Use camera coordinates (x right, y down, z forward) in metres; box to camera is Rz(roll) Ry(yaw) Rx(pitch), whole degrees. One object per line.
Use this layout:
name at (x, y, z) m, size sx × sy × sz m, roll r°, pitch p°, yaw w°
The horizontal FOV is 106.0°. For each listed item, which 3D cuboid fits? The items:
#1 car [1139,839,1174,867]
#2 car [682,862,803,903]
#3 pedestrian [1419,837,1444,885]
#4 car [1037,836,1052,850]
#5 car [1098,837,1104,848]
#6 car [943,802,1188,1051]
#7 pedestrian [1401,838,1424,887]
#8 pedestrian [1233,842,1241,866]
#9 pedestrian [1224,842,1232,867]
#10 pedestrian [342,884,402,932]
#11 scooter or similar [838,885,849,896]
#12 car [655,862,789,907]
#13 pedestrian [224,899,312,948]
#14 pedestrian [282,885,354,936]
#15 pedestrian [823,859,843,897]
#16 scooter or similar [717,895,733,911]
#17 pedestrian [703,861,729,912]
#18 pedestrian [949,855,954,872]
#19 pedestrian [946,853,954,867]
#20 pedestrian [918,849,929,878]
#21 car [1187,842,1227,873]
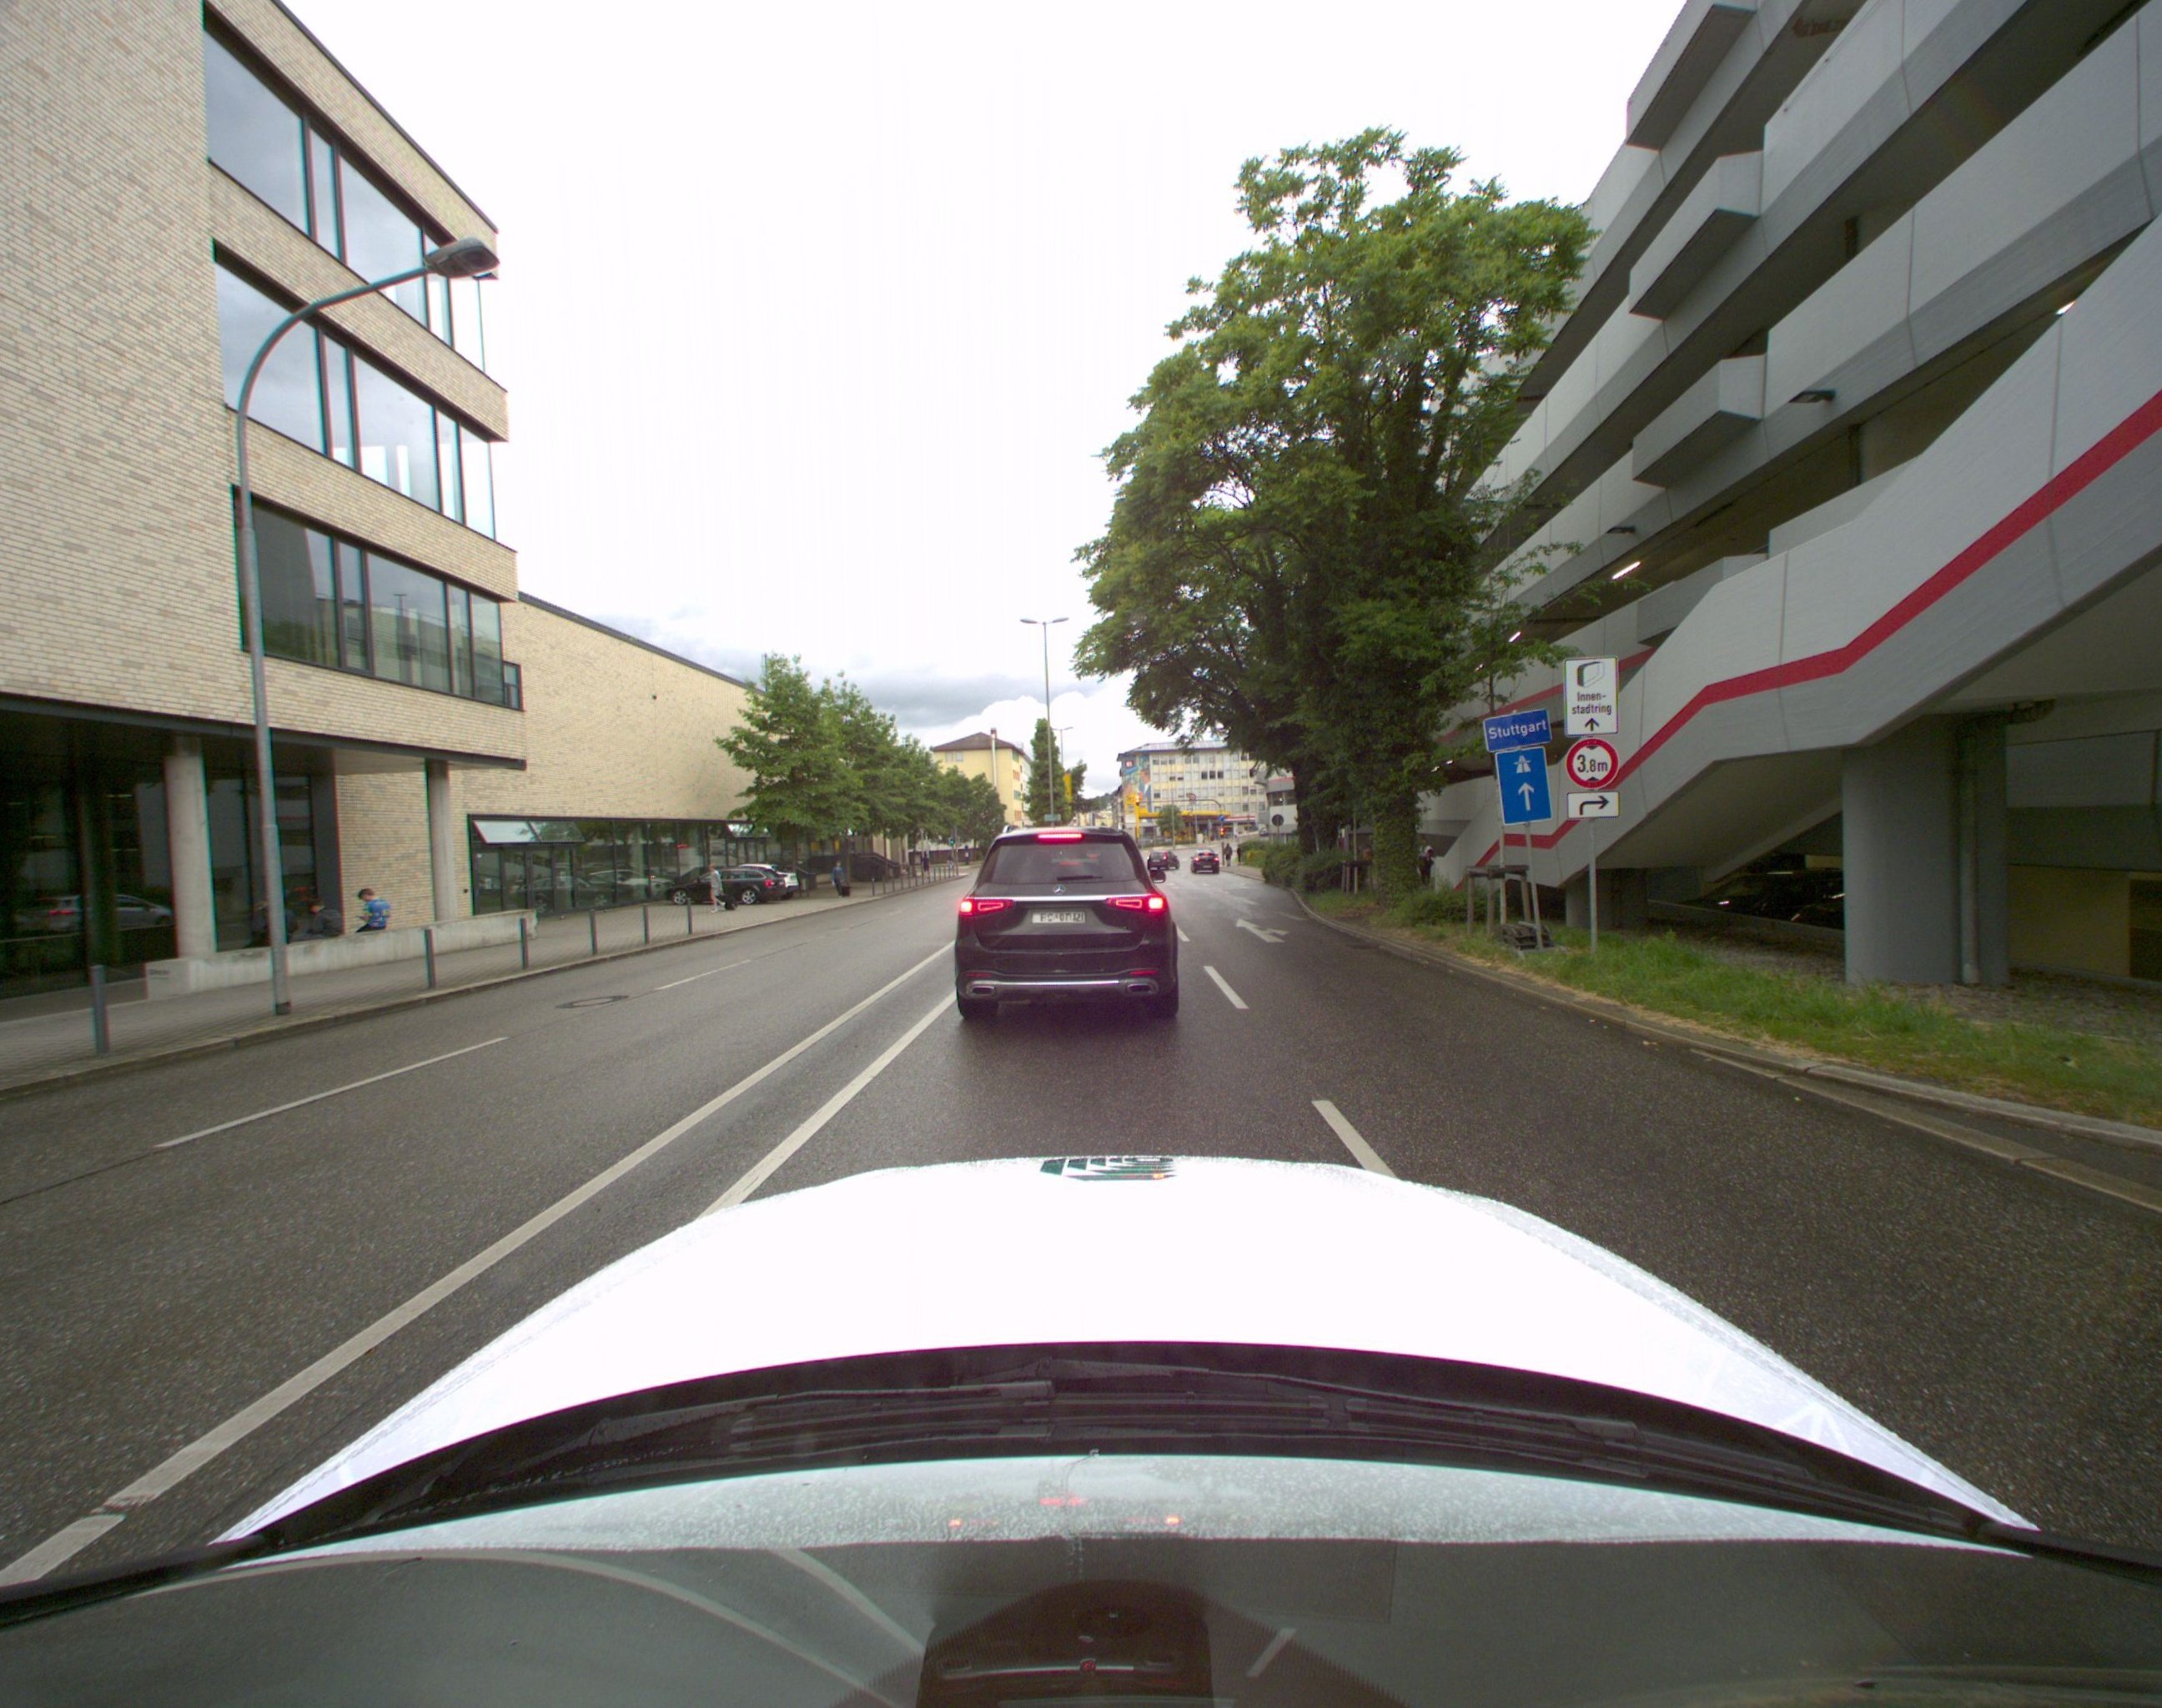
car at (5.657, -0.046, 61.635) m, size 1.990 × 2.014 × 3.994 m, roll 0°, pitch -1°, yaw -4°
car at (-14.635, 1.217, 35.432) m, size 4.407 × 1.573 × 1.998 m, roll -1°, pitch 1°, yaw -4°
pedestrian at (11.021, 0.215, 25.599) m, size 0.579 × 1.501 × 0.505 m, roll 0°, pitch -1°, yaw 7°
car at (-5.514, -1.635, 121.985) m, size 1.987 × 1.875 × 5.141 m, roll 0°, pitch -1°, yaw 0°
car at (6.273, -3.666, 258.268) m, size 1.987 × 2.007 × 4.013 m, roll 0°, pitch 23°, yaw 0°
car at (-0.109, 0.607, 8.627) m, size 1.987 × 2.014 × 4.000 m, roll 0°, pitch -1°, yaw 0°
pedestrian at (10.430, 0.259, 25.635) m, size 0.548 × 1.532 × 0.489 m, roll 0°, pitch -1°, yaw 8°
pedestrian at (12.499, -0.004, 65.324) m, size 0.518 × 1.911 × 0.556 m, roll 0°, pitch -1°, yaw 1°
pedestrian at (11.688, 0.028, 64.741) m, size 0.617 × 1.935 × 0.611 m, roll 0°, pitch -1°, yaw 4°
pedestrian at (-13.547, 1.019, 15.570) m, size 0.680 × 0.886 × 0.523 m, roll 0°, pitch -1°, yaw -5°
scooter or similar at (-11.186, 1.723, 38.428) m, size 0.358 × 0.536 × 0.499 m, roll 0°, pitch -2°, yaw 1°
car at (-14.252, 1.186, 32.544) m, size 4.461 × 1.587 × 1.997 m, roll -1°, pitch 0°, yaw -5°
pedestrian at (-13.500, 1.169, 13.548) m, size 0.595 × 0.786 × 0.760 m, roll 0°, pitch -7°, yaw 1°
pedestrian at (-13.533, 0.988, 14.465) m, size 0.584 × 0.845 × 0.727 m, roll -1°, pitch -1°, yaw 1°
pedestrian at (-11.444, 1.116, 37.575) m, size 0.686 × 1.725 × 0.754 m, roll 0°, pitch 1°, yaw 0°
scooter or similar at (-12.385, 1.703, 28.329) m, size 0.279 × 0.501 × 0.616 m, roll 0°, pitch -1°, yaw 3°
pedestrian at (-12.505, 1.111, 27.913) m, size 0.673 × 1.697 × 0.479 m, roll 0°, pitch 0°, yaw 1°
pedestrian at (-12.773, 0.941, 80.229) m, size 0.398 × 1.644 × 0.567 m, roll 0°, pitch -1°, yaw 2°
pedestrian at (-13.496, 0.653, 83.935) m, size 0.709 × 1.462 × 0.598 m, roll 0°, pitch -1°, yaw 0°
pedestrian at (-11.234, 0.675, 58.081) m, size 0.586 × 2.013 × 0.749 m, roll 0°, pitch 0°, yaw 0°
car at (8.399, 0.209, 54.551) m, size 1.987 × 2.013 × 3.999 m, roll -1°, pitch 0°, yaw 0°
